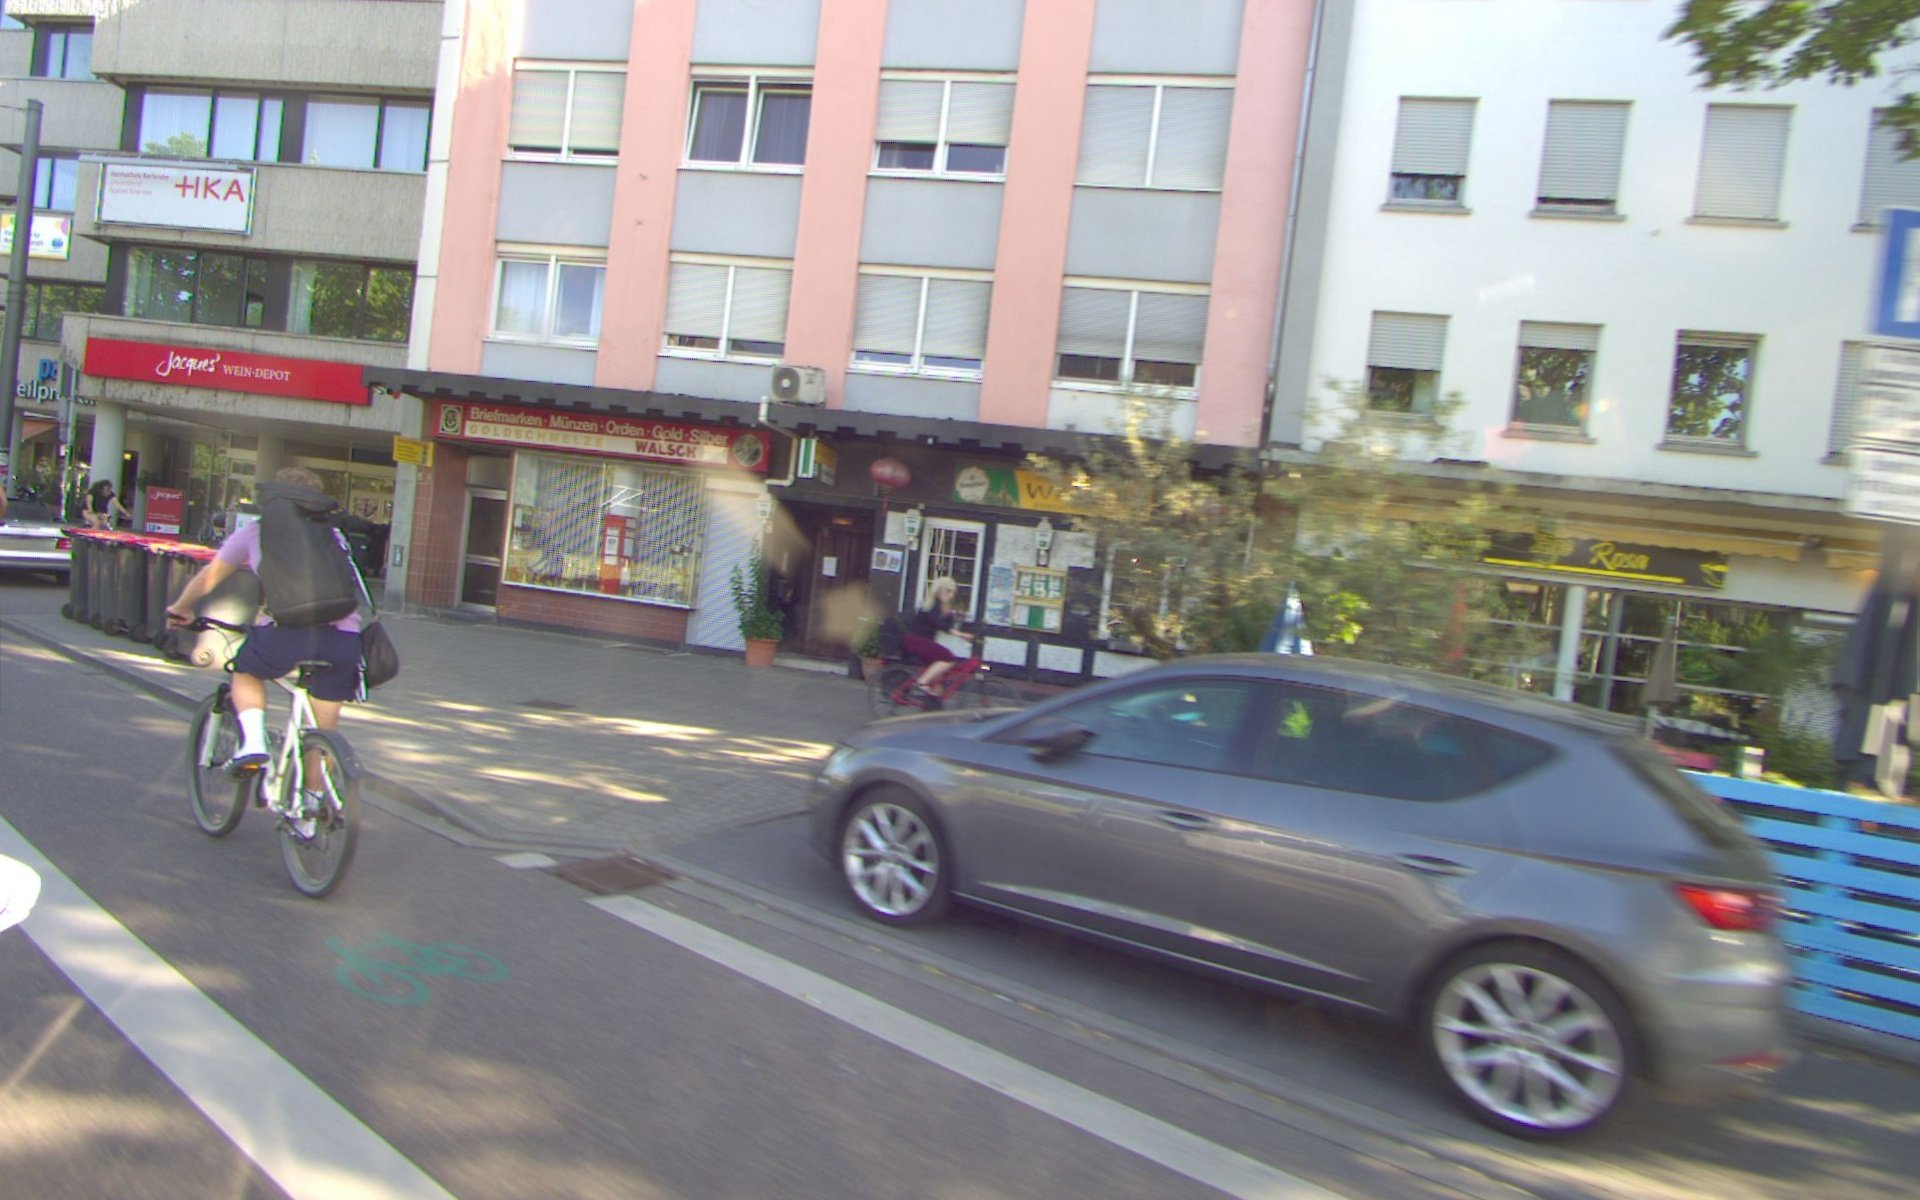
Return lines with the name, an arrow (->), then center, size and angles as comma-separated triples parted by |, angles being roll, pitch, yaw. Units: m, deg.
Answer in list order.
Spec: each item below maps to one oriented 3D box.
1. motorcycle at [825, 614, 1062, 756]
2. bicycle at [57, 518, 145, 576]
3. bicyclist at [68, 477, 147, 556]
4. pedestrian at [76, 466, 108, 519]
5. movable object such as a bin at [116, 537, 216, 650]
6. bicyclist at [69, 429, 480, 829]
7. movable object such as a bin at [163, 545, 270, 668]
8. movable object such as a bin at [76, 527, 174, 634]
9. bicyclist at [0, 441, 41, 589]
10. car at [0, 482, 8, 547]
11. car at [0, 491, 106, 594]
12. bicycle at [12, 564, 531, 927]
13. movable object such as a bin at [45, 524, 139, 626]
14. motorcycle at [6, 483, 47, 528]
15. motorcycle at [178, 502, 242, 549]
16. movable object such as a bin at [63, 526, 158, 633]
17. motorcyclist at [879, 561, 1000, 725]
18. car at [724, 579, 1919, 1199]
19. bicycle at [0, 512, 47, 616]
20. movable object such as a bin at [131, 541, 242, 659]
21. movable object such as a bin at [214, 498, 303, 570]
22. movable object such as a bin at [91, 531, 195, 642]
motorcycle -> -0.189, 0.853, 10.510 | 2.257, 1.139, 0.778 | 6, -1, 26
bicycle -> -16.412, -1.023, 19.213 | 2.035, 0.902, 0.535 | 6, -1, 29
bicyclist -> -16.294, -1.596, 19.230 | 0.977, 1.342, 0.759 | 6, -1, 29
pedestrian -> -32.233, -3.977, 37.357 | 0.700, 1.837, 0.709 | 7, -1, -40
movable object such as a bin -> -8.211, -0.058, 10.415 | 0.488, 1.081, 0.592 | 6, -1, 32
bicyclist -> -2.998, 0.113, 4.474 | 0.971, 1.501, 1.040 | 6, -1, 26
movable object such as a bin -> -7.185, 0.068, 9.726 | 0.561, 1.095, 0.574 | 6, -1, 32
movable object such as a bin -> -9.226, -0.210, 11.127 | 0.536, 1.081, 0.605 | 6, -1, 32
bicyclist -> -11.372, -1.012, 11.453 | 0.930, 1.653, 0.930 | 7, -1, -23
car -> -19.365, -1.583, 18.719 | 4.136, 1.536, 1.671 | 6, -2, 38
car -> -15.547, -1.036, 16.042 | 4.529, 1.360, 1.852 | 6, -2, 36
bicycle -> -3.122, 0.545, 4.529 | 2.189, 1.149, 0.888 | 6, -1, 27
movable object such as a bin -> -10.160, -0.289, 11.782 | 0.594, 1.096, 0.593 | 6, -1, 32
motorcycle -> -26.862, -2.716, 28.938 | 0.761, 1.170, 2.022 | 3, 2, -45
motorcycle -> -23.062, -2.295, 30.933 | 2.063, 1.182, 0.513 | 8, 0, 24
movable object such as a bin -> -9.675, -0.230, 11.462 | 0.517, 1.118, 0.611 | 6, -1, 32
motorcyclist -> -0.200, 0.451, 10.522 | 0.792, 1.569, 0.900 | 6, -1, 26
car -> 1.204, 0.906, 4.678 | 4.508, 1.457, 1.766 | 7, 1, 33
bicycle -> -11.441, -0.465, 11.489 | 0.811, 1.199, 1.954 | 7, -1, -23
movable object such as a bin -> -7.760, 0.008, 10.096 | 0.600, 1.081, 0.620 | 6, -1, 32
movable object such as a bin -> -15.977, -1.496, 22.924 | 1.106, 1.414, 1.334 | 6, -1, 43
movable object such as a bin -> -8.698, -0.142, 10.717 | 0.603, 1.081, 0.607 | 6, -1, 31
